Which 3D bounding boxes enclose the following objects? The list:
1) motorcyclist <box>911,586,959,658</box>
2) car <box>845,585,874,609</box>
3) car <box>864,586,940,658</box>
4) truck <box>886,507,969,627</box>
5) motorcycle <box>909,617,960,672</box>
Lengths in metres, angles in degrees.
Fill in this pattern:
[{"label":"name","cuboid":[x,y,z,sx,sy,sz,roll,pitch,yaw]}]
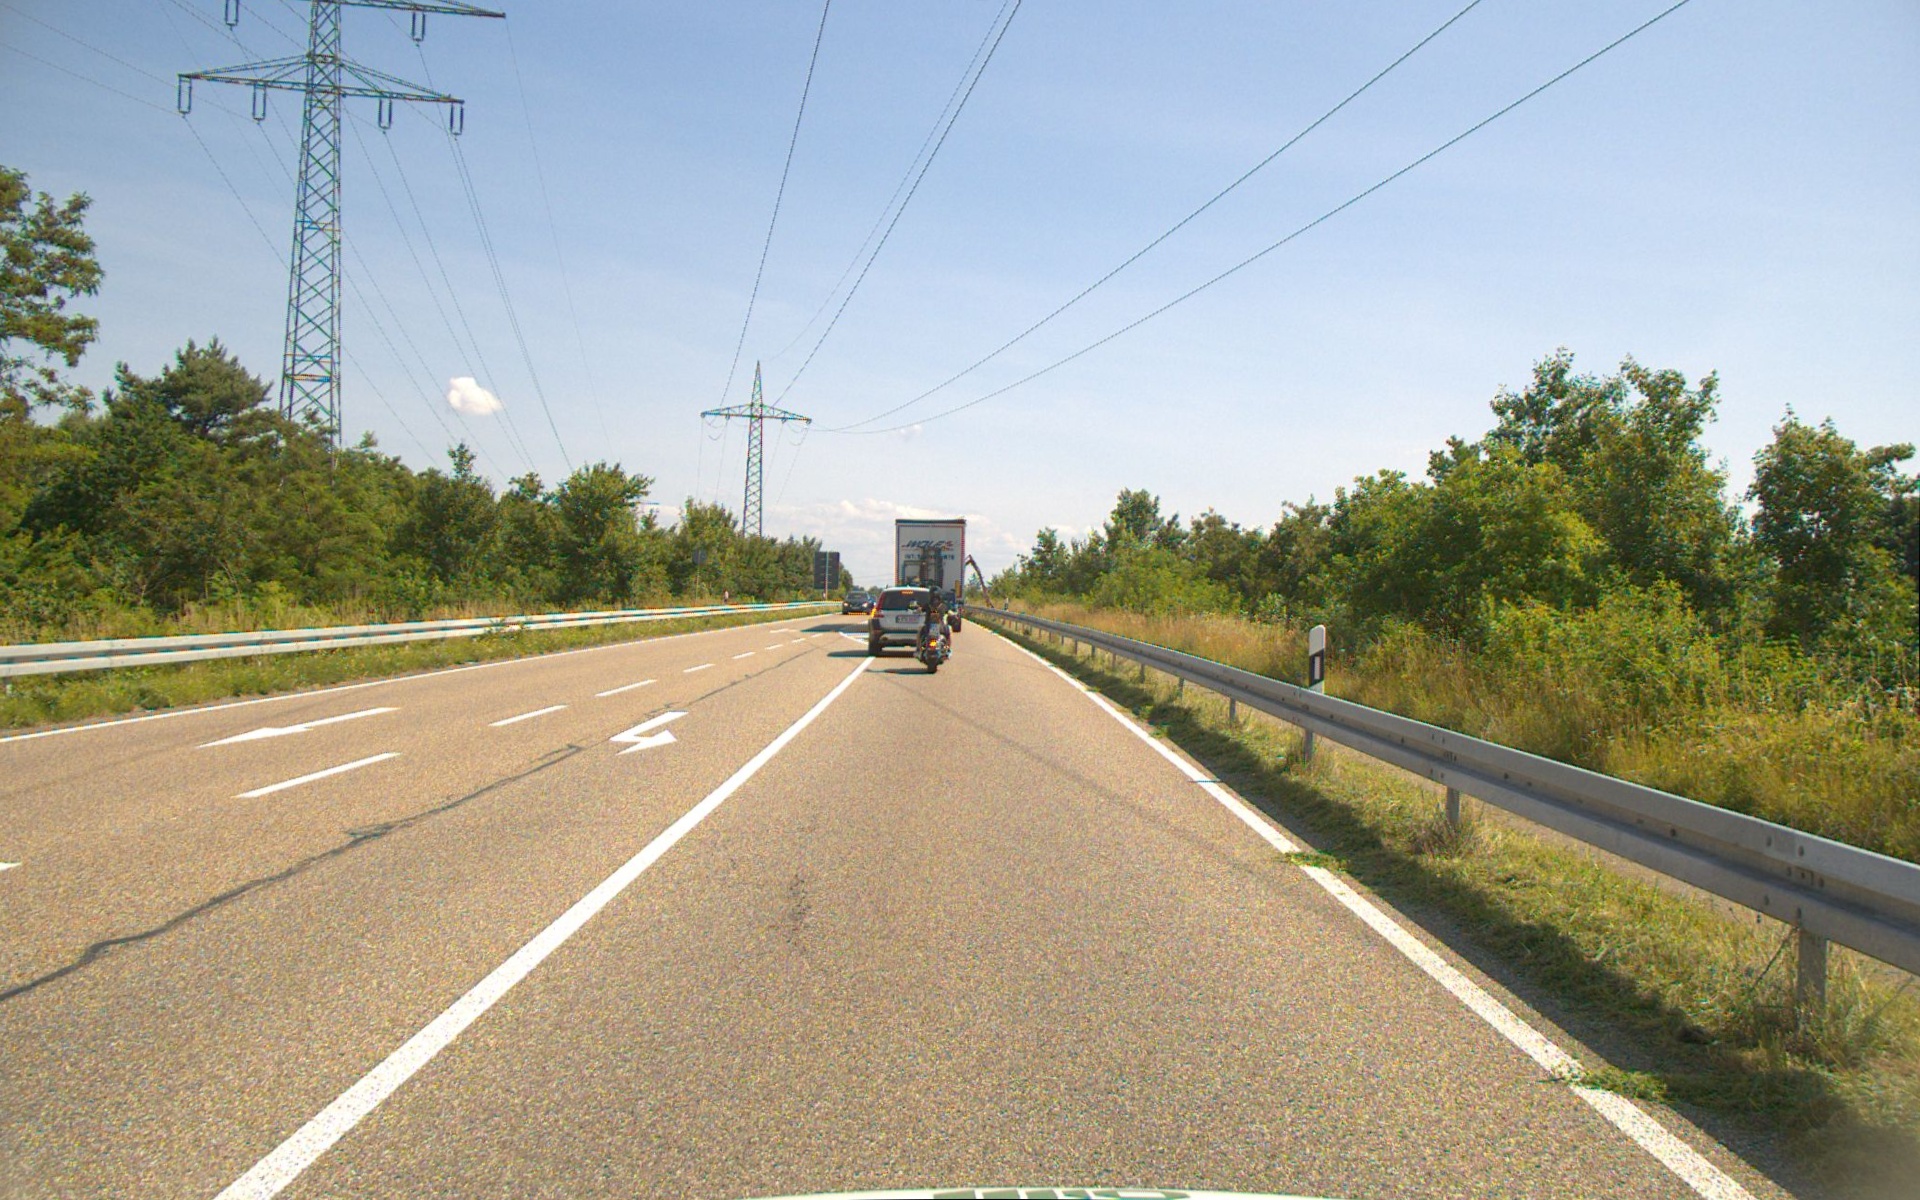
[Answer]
[{"label":"motorcyclist","cuboid":[-0.471,0.406,30.638,0.820,1.303,0.919,1,0,-3]},{"label":"car","cuboid":[-6.592,-0.188,108.636,1.692,1.517,4.421,1,0,-2]},{"label":"car","cuboid":[-1.316,0.476,38.561,1.666,1.563,3.498,1,0,-1]},{"label":"truck","cuboid":[-1.204,-1.222,66.998,2.907,4.260,14.820,1,0,0]},{"label":"motorcycle","cuboid":[-0.486,0.804,30.569,0.842,0.931,2.226,1,0,-3]}]
